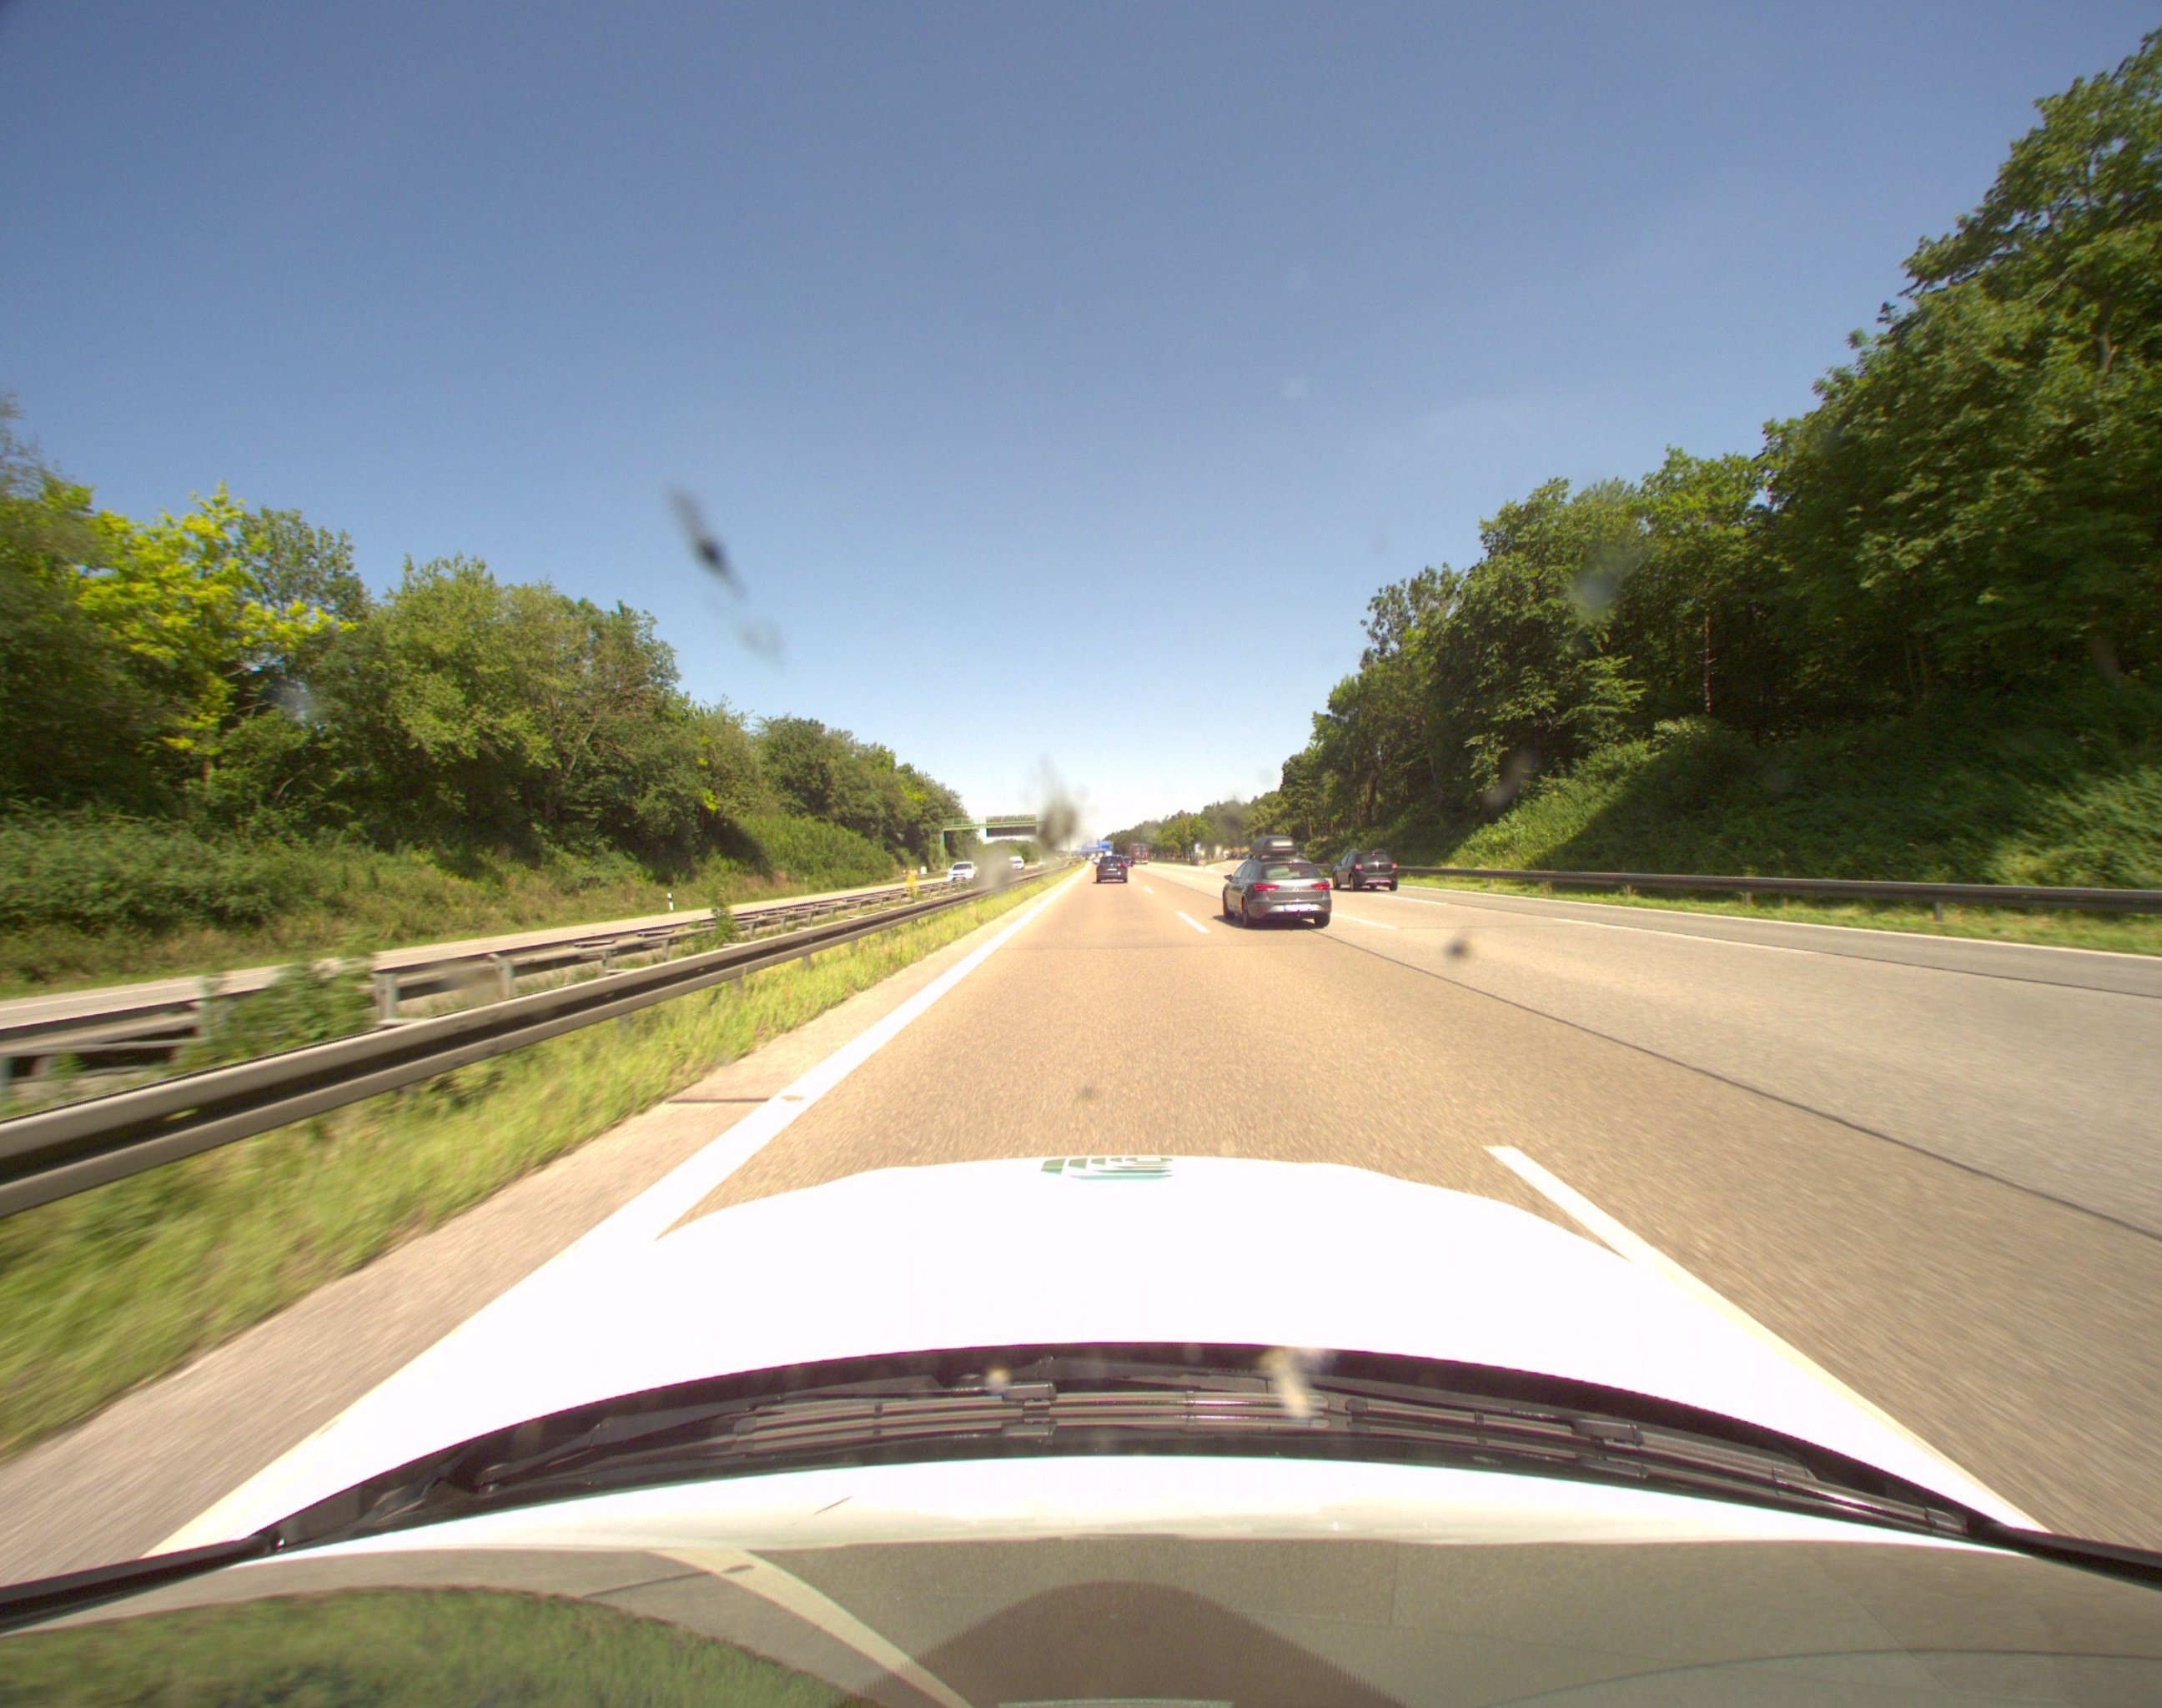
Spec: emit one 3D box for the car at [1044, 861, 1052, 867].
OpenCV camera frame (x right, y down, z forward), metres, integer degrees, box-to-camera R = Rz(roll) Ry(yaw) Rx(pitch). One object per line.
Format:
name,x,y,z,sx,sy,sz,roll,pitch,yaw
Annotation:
car,-9.046,2.693,224.282,1.660,1.464,3.883,-5,0,1

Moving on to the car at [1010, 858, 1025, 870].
car,-10.259,1.582,131.344,1.740,1.830,5.170,-4,0,1

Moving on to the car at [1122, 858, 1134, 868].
car,6.790,1.261,117.752,1.757,1.381,4.262,-1,0,4

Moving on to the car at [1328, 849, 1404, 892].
car,11.201,0.595,32.286,1.757,1.568,4.262,-1,0,4

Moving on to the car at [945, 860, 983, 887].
car,-7.924,1.298,55.548,1.805,1.617,3.916,-4,0,2

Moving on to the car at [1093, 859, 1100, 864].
car,3.627,1.751,186.984,1.466,1.227,3.411,-2,0,1

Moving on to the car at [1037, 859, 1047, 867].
car,-9.306,2.115,193.423,1.872,1.610,5.311,-4,0,1

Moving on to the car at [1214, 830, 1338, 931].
car,4.177,0.514,18.208,1.659,1.876,4.829,-3,0,2

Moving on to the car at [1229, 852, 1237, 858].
car,46.087,0.352,247.052,1.648,1.877,4.807,-2,0,5

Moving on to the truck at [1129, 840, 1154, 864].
truck,11.643,-0.354,158.181,3.767,4.422,14.052,-2,0,1

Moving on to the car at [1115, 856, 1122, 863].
car,8.038,1.116,174.925,1.466,1.398,3.411,0,0,1

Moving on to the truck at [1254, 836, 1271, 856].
truck,37.532,-1.700,168.592,3.263,3.947,9.381,-3,0,12

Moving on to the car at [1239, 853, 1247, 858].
car,45.888,0.413,230.606,1.982,1.574,4.010,-2,0,9

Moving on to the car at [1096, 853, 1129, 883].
car,1.899,0.778,47.937,1.791,1.669,4.262,-1,0,4
